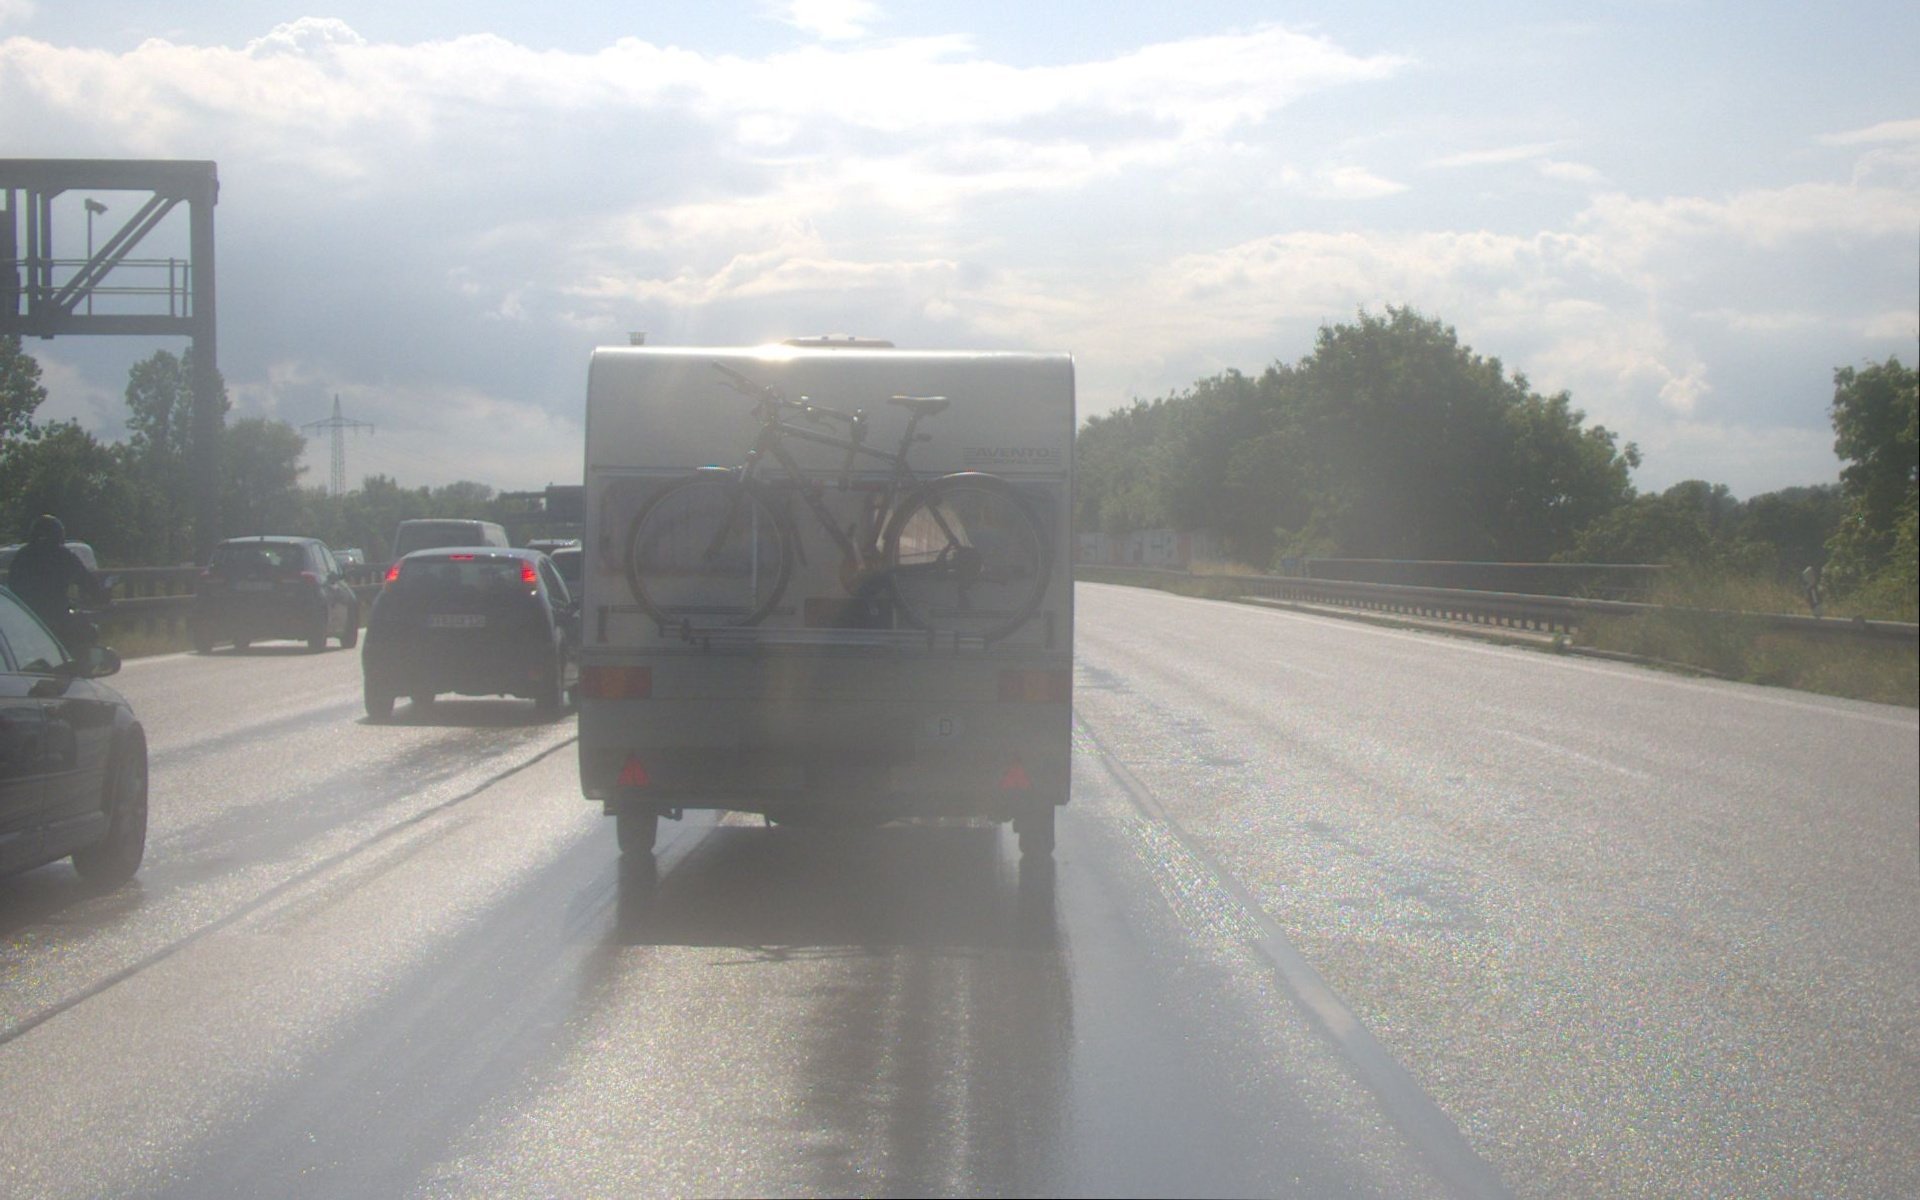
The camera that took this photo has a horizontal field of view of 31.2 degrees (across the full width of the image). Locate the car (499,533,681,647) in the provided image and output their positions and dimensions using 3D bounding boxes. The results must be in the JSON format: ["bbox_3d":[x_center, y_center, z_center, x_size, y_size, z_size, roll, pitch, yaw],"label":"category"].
[{"bbox_3d":[-4.884,-0.164,45.852,1.987,1.453,3.826,0,1,1],"label":"car"}]

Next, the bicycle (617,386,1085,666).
[{"bbox_3d":[-0.449,-0.311,14.455,1.934,1.137,0.384,1,1,2],"label":"bicycle"}]

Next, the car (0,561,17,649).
[{"bbox_3d":[-16.560,0.101,55.255,1.776,1.437,4.000,0,1,-1],"label":"car"}]

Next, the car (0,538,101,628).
[{"bbox_3d":[-21.439,-0.430,79.483,1.993,2.007,4.952,0,1,-1],"label":"car"}]

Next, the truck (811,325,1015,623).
[{"bbox_3d":[-0.840,-2.050,58.774,3.146,4.610,10.737,0,1,-1],"label":"truck"}]

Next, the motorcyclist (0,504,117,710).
[{"bbox_3d":[-6.937,0.040,26.125,0.796,1.532,1.093,0,1,0],"label":"motorcyclist"}]

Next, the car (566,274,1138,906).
[{"bbox_3d":[-0.443,-0.069,16.661,2.410,2.665,4.000,1,1,1],"label":"car"}]

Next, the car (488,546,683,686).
[{"bbox_3d":[-4.216,0.142,39.239,1.863,1.503,4.000,0,1,-1],"label":"car"}]

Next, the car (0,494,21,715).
[{"bbox_3d":[-8.920,0.074,26.548,1.806,1.838,5.418,0,1,1],"label":"car"}]

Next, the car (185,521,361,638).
[{"bbox_3d":[-9.620,-0.320,48.377,1.783,1.573,3.916,0,1,-1],"label":"car"}]

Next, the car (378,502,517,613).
[{"bbox_3d":[-9.303,-0.789,62.749,1.848,1.927,5.016,0,1,-1],"label":"car"}]

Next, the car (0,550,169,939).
[{"bbox_3d":[-4.447,0.526,13.579,1.750,1.428,4.054,0,1,-1],"label":"car"}]

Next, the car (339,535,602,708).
[{"bbox_3d":[-4.331,0.143,30.951,1.758,1.438,4.000,0,1,1],"label":"car"}]

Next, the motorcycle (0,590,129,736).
[{"bbox_3d":[-6.946,0.452,26.141,0.690,1.024,2.388,0,1,-1],"label":"motorcycle"}]

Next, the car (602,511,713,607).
[{"bbox_3d":[-5.349,-0.740,61.132,1.689,1.656,3.641,0,1,-1],"label":"car"}]
